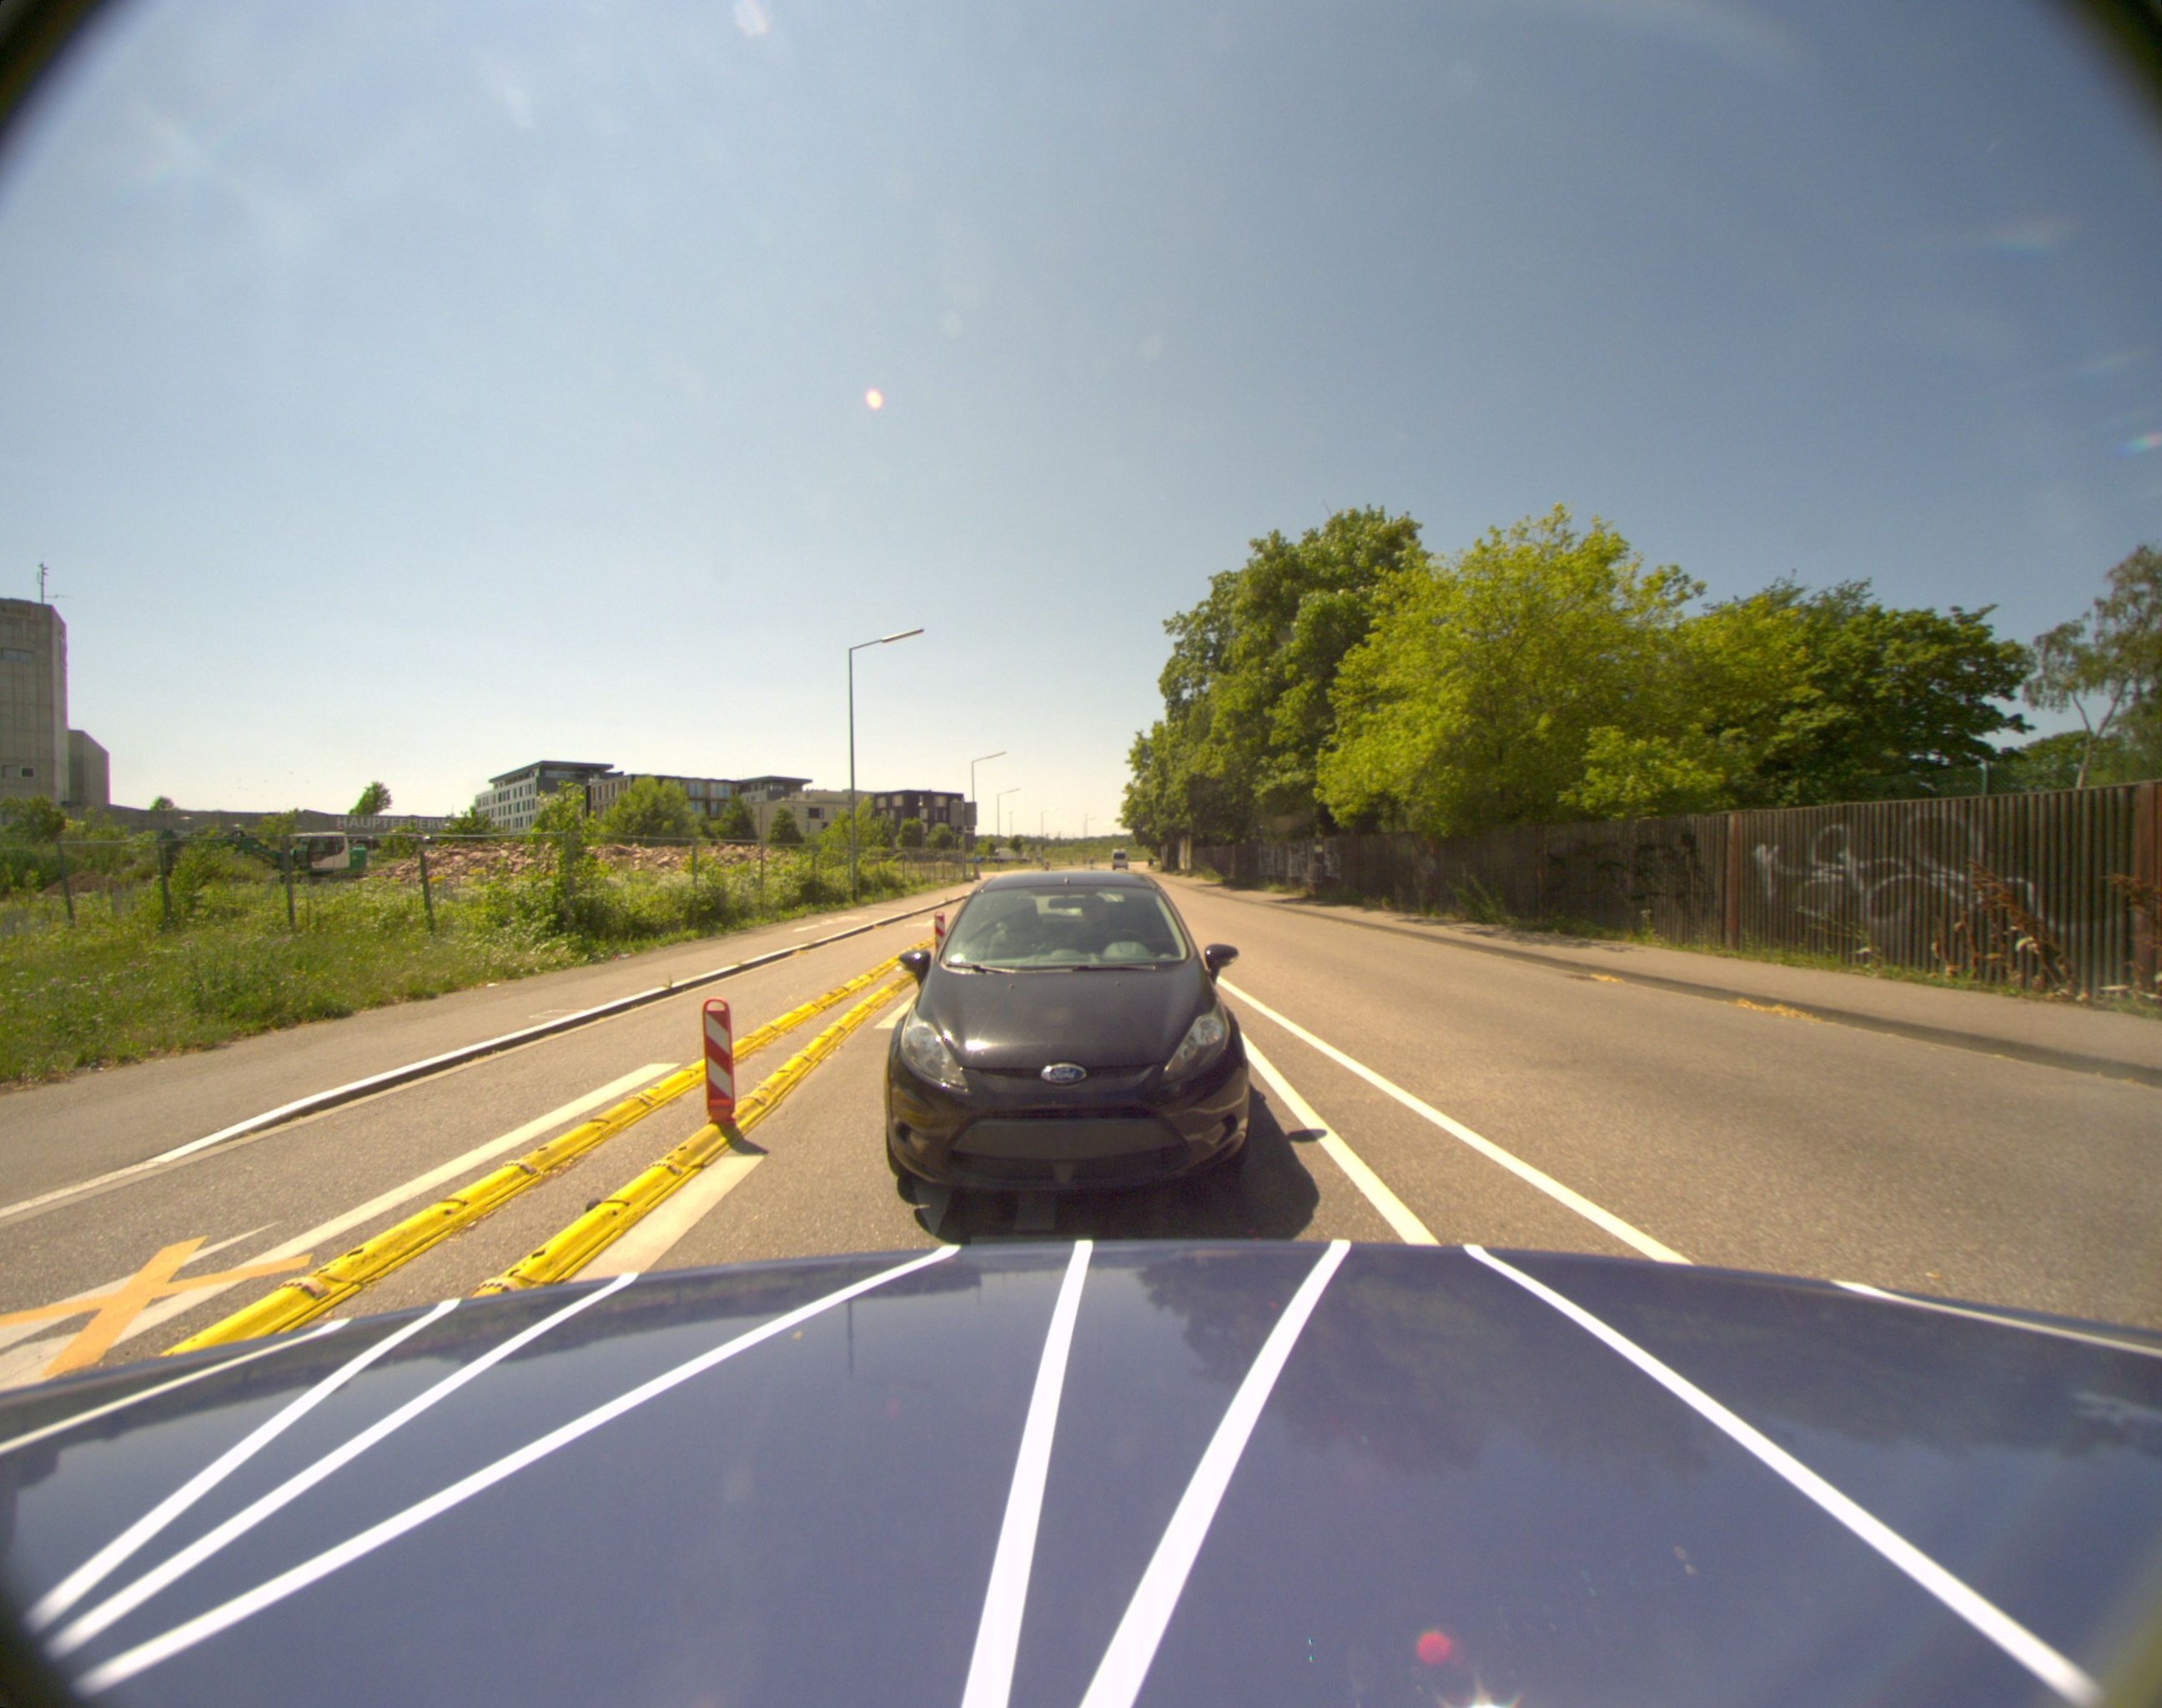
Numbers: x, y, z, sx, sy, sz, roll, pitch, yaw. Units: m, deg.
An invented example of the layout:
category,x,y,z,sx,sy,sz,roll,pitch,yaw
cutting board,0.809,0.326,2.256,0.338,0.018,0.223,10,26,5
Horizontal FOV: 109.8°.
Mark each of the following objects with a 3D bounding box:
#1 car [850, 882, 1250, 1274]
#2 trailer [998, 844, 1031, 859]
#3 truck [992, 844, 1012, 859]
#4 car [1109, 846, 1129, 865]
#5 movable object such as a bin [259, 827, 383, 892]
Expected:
category,x,y,z,sx,sy,sz,roll,pitch,yaw
car,-0.105,0.996,5.120,1.602,1.422,4.000,-2,0,1
trailer,-15.137,-0.633,174.432,8.194,3.329,1.994,-1,0,-45
truck,-17.894,-0.631,171.692,4.008,3.316,1.994,-1,1,-45
car,4.995,0.200,101.549,2.025,2.524,6.825,0,0,-2
movable object such as a bin,-37.635,0.239,37.770,2.204,3.045,3.690,-2,1,6
